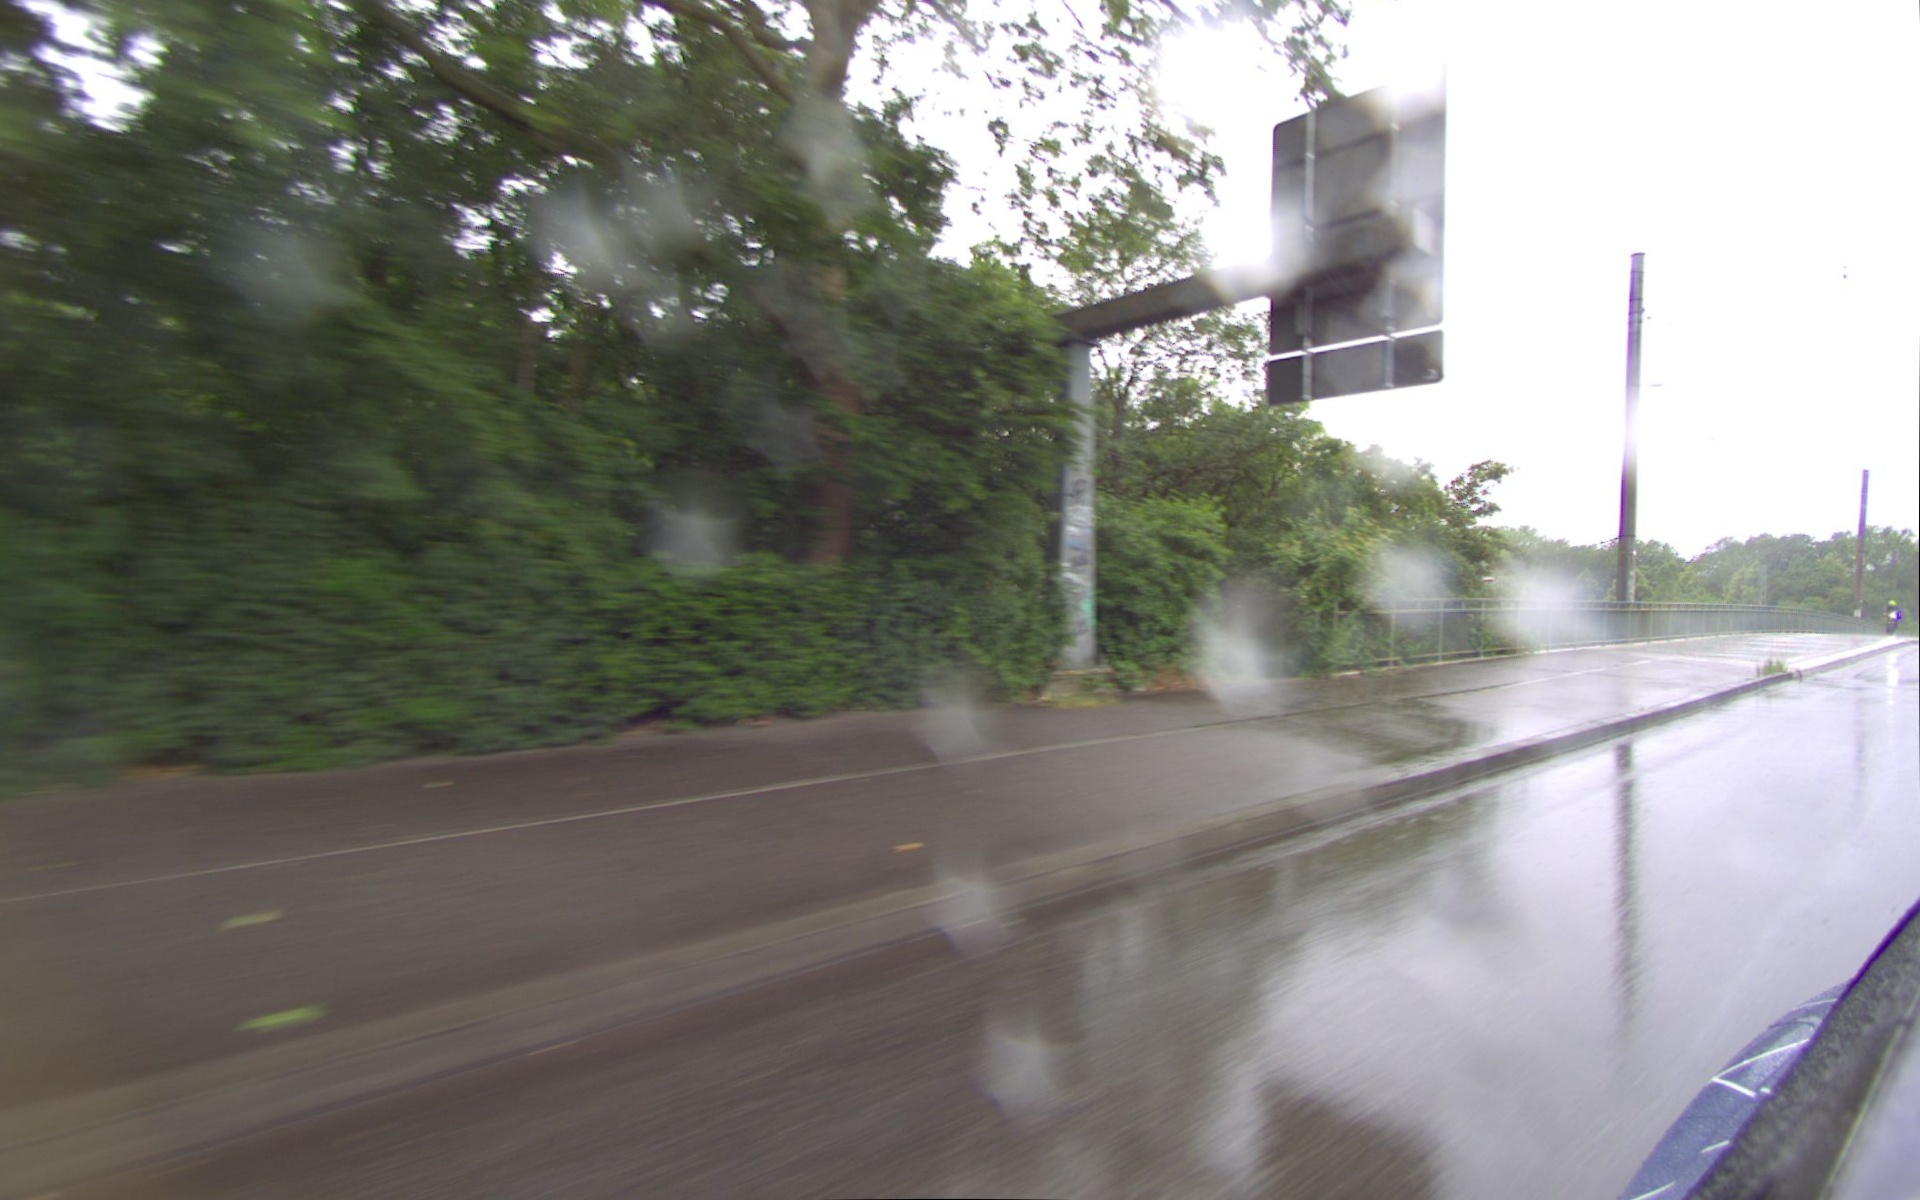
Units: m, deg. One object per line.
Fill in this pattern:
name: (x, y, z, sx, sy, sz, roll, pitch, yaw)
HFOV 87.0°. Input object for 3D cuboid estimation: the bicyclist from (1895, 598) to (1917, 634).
bicyclist: (48.019, 0.810, 51.381, 0.933, 1.786, 0.726, 2, -2, -42)

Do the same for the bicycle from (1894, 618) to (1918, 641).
bicycle: (48.048, 1.509, 51.403, 2.130, 1.143, 0.724, 3, -2, -43)
